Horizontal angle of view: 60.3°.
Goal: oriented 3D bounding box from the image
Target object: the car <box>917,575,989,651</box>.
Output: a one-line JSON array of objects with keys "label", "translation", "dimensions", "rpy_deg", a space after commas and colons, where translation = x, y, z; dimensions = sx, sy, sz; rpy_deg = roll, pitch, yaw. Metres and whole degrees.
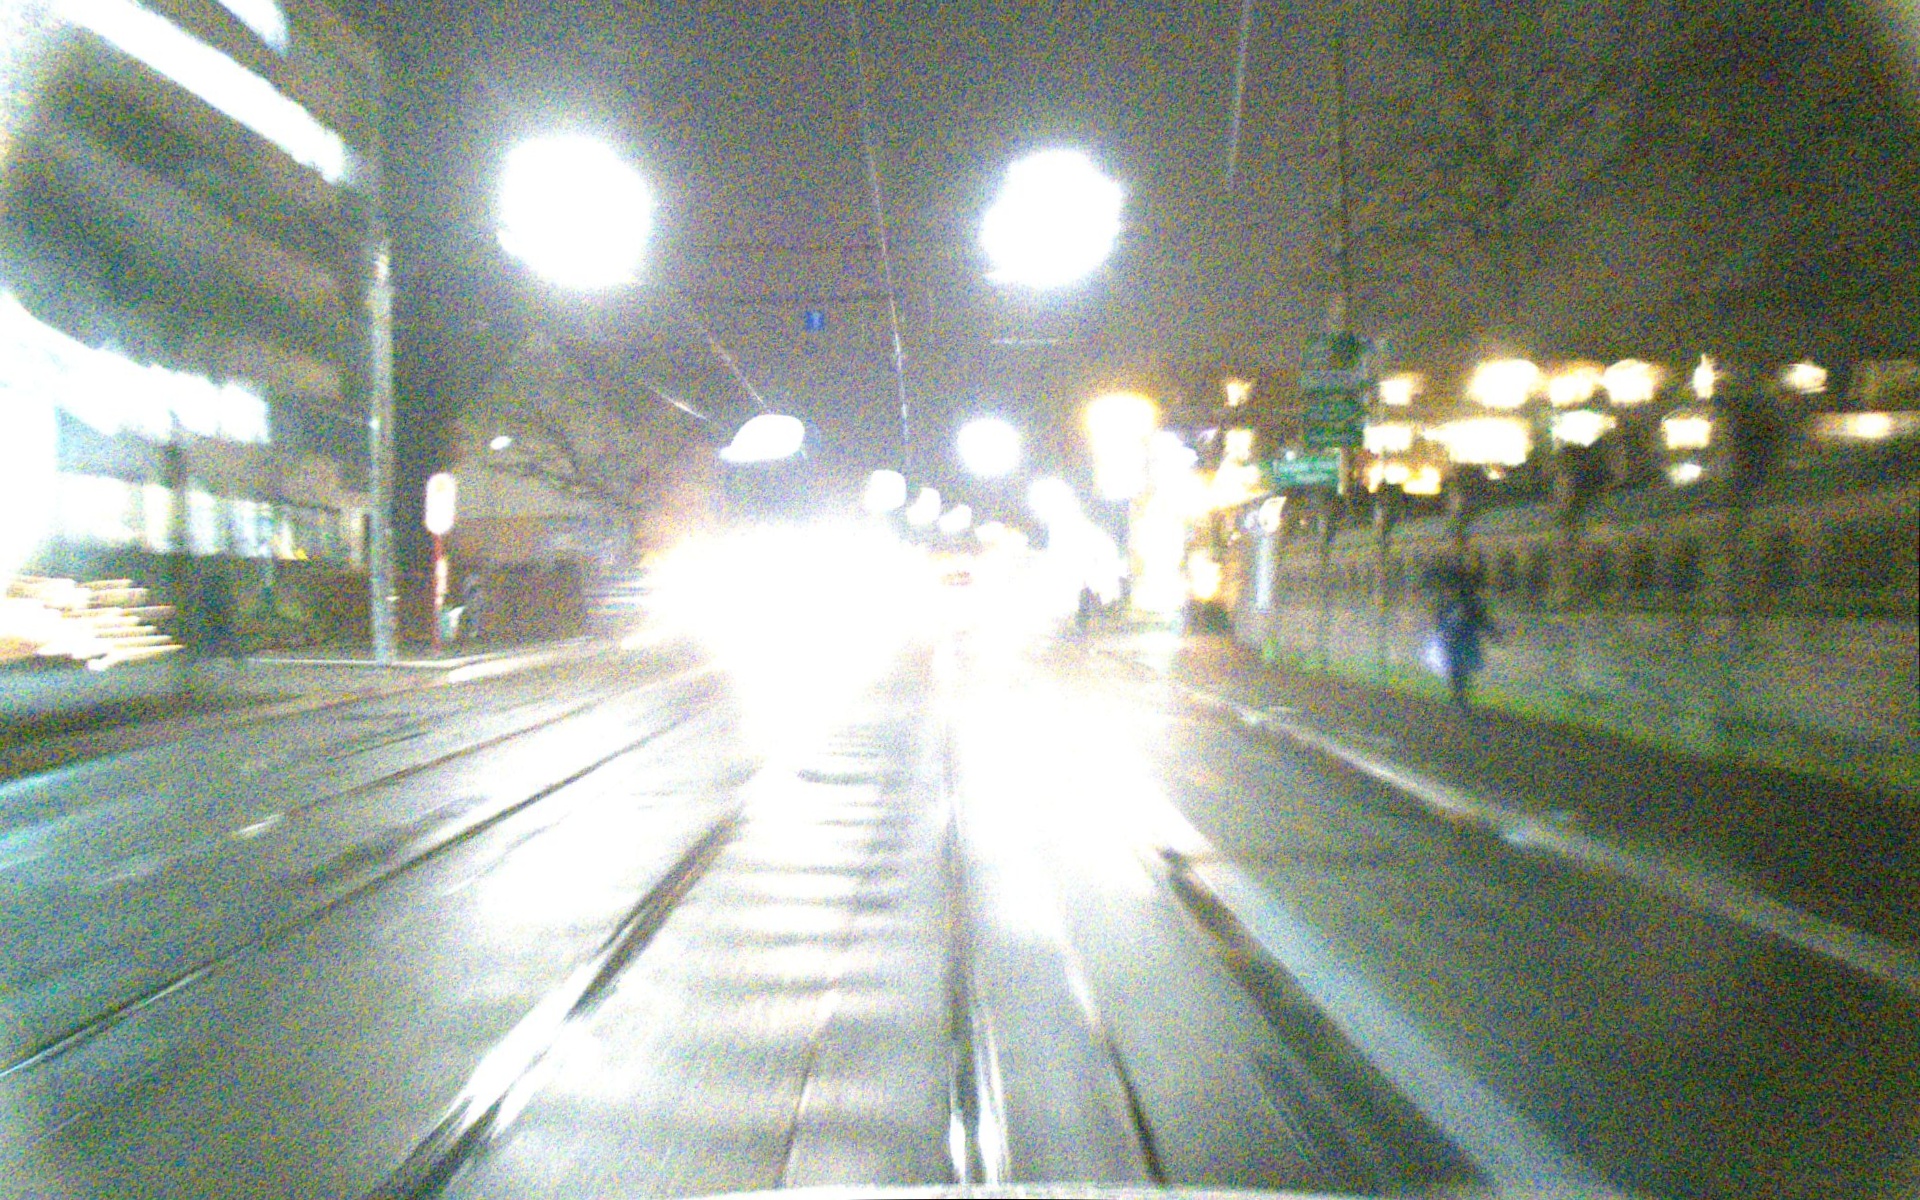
[{"label": "car", "translation": [-0.277, 0.421, 54.592], "dimensions": [2.199, 2.402, 4.392], "rpy_deg": [1, 0, -2]}]

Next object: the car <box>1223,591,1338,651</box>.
[{"label": "car", "translation": [9.788, 0.638, 50.269], "dimensions": [1.989, 1.730, 4.109], "rpy_deg": [0, 0, 34]}]

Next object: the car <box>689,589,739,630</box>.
[{"label": "car", "translation": [-12.844, 0.503, 86.614], "dimensions": [1.953, 2.049, 4.000], "rpy_deg": [1, 0, 0]}]

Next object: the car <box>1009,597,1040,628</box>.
[{"label": "car", "translation": [4.497, 0.873, 115.820], "dimensions": [1.953, 2.049, 3.999], "rpy_deg": [1, 0, -1]}]

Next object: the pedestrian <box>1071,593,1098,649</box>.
[{"label": "pedestrian", "translation": [4.061, 0.671, 53.954], "dimensions": [0.761, 1.807, 0.694], "rpy_deg": [1, -1, 16]}]

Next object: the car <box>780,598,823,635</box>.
[{"label": "car", "translation": [-7.707, 0.788, 80.541], "dimensions": [1.954, 1.755, 4.073], "rpy_deg": [1, 0, -4]}]

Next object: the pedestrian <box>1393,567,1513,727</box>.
[{"label": "pedestrian", "translation": [5.422, 0.502, 18.237], "dimensions": [0.921, 1.693, 0.993], "rpy_deg": [-2, 0, -5]}]

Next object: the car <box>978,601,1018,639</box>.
[{"label": "car", "translation": [1.922, 0.982, 83.711], "dimensions": [1.974, 1.847, 4.000], "rpy_deg": [1, 0, 1]}]

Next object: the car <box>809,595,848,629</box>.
[{"label": "car", "translation": [-8.070, 0.726, 101.800], "dimensions": [2.274, 1.966, 4.959], "rpy_deg": [1, 0, -4]}]

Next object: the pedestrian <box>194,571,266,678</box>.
[{"label": "pedestrian", "translation": [-11.912, 0.393, 27.013], "dimensions": [0.770, 1.716, 0.882], "rpy_deg": [1, -1, -1]}]

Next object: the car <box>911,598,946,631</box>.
[{"label": "car", "translation": [-1.876, 0.855, 97.182], "dimensions": [1.953, 1.847, 3.998], "rpy_deg": [1, 0, -2]}]
